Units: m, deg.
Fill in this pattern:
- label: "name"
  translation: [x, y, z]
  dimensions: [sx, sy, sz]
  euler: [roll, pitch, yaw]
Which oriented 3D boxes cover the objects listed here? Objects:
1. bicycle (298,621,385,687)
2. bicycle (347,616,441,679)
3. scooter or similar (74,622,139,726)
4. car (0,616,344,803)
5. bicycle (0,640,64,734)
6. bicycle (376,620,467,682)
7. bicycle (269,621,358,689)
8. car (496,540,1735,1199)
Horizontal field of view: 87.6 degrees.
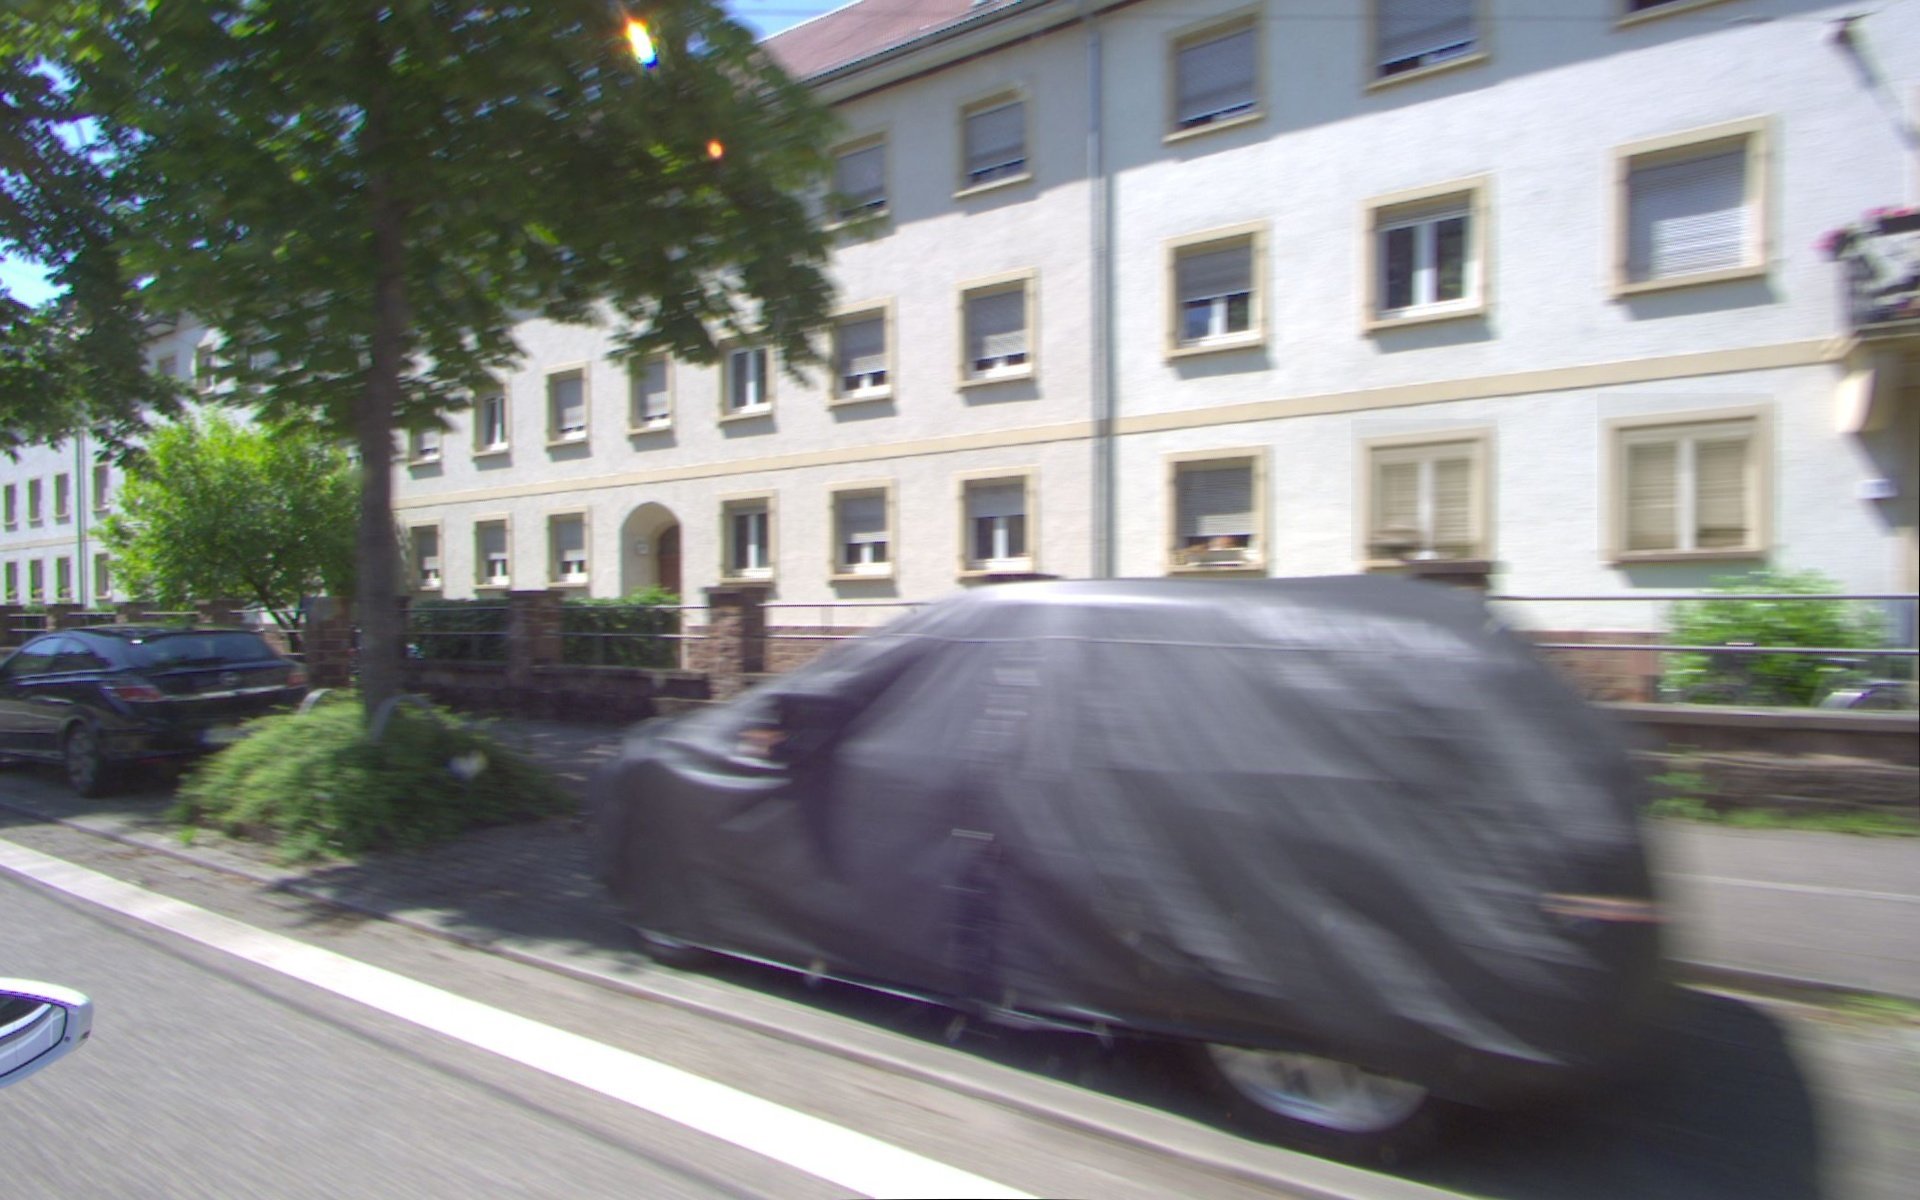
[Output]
- label: "bicycle"
  translation: [-10.707, 0.910, 17.315]
  dimensions: [1.896, 1.092, 0.478]
  euler: [0, 0, 31]
- label: "bicycle"
  translation: [-10.159, 0.832, 17.964]
  dimensions: [1.893, 1.092, 0.478]
  euler: [0, 0, 26]
- label: "scooter or similar"
  translation: [-11.468, 0.964, 13.476]
  dimensions: [0.374, 1.230, 1.241]
  euler: [0, 4, -28]
- label: "car"
  translation: [-8.039, 0.888, 9.676]
  dimensions: [4.290, 1.437, 1.693]
  euler: [0, 0, 29]
- label: "bicycle"
  translation: [-11.852, 1.056, 11.926]
  dimensions: [0.596, 1.092, 1.653]
  euler: [0, 0, 24]
- label: "bicycle"
  translation: [-9.927, 0.917, 18.441]
  dimensions: [1.893, 1.092, 0.478]
  euler: [0, 0, 26]
- label: "bicycle"
  translation: [-10.931, 0.902, 16.912]
  dimensions: [1.896, 1.092, 0.478]
  euler: [0, 0, 31]
- label: "car"
  translation: [0.237, 0.720, 4.352]
  dimensions: [4.813, 1.672, 1.942]
  euler: [0, 0, 35]
